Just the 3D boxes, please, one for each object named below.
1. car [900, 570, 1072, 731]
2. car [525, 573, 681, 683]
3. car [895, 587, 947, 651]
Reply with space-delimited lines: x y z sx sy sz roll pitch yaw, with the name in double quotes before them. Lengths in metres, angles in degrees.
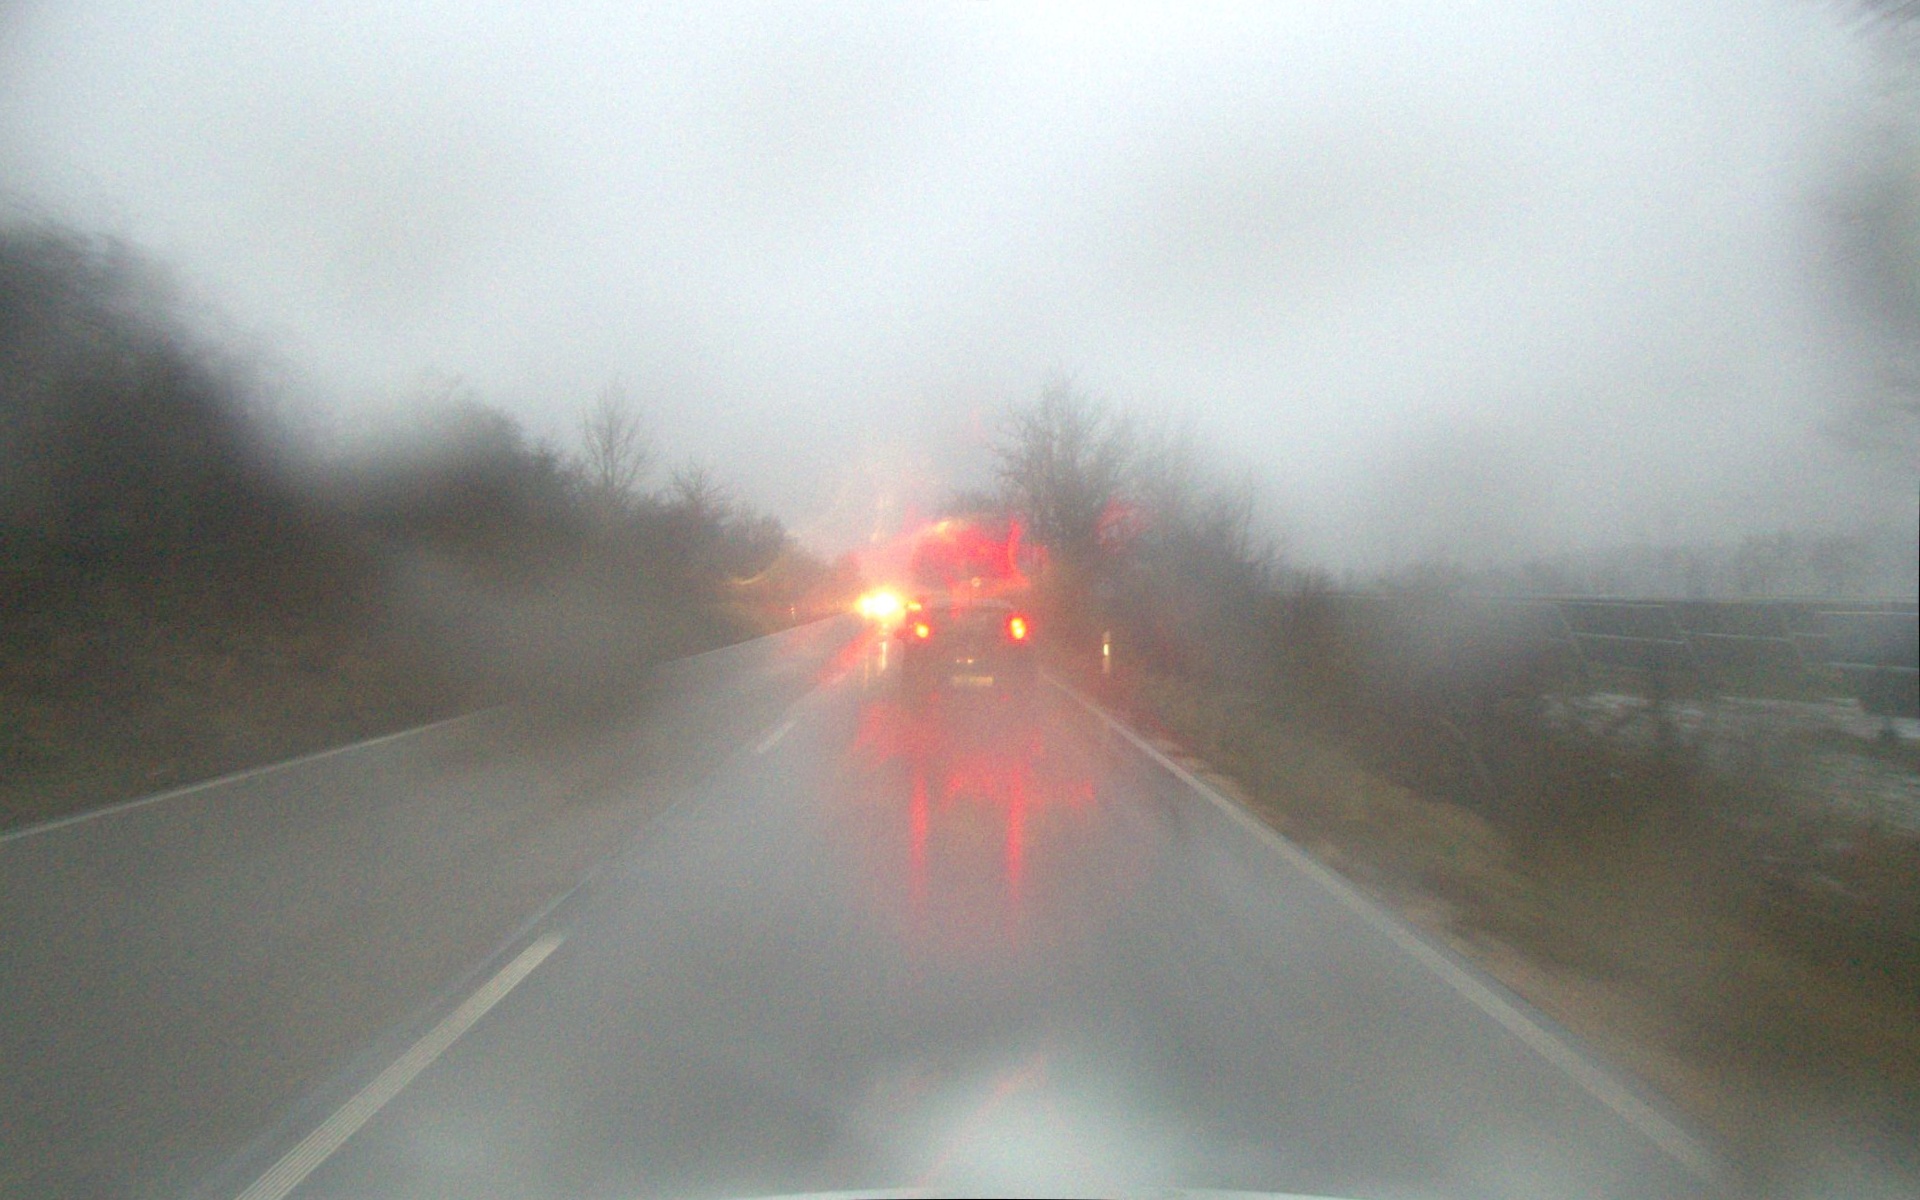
"car" 0.276 0.582 21.064 1.953 1.816 3.999 1 0 -1
"car" -6.375 0.478 29.976 1.953 1.816 3.999 1 0 -1
"car" -1.214 0.590 52.095 1.542 1.908 3.708 1 0 -1
